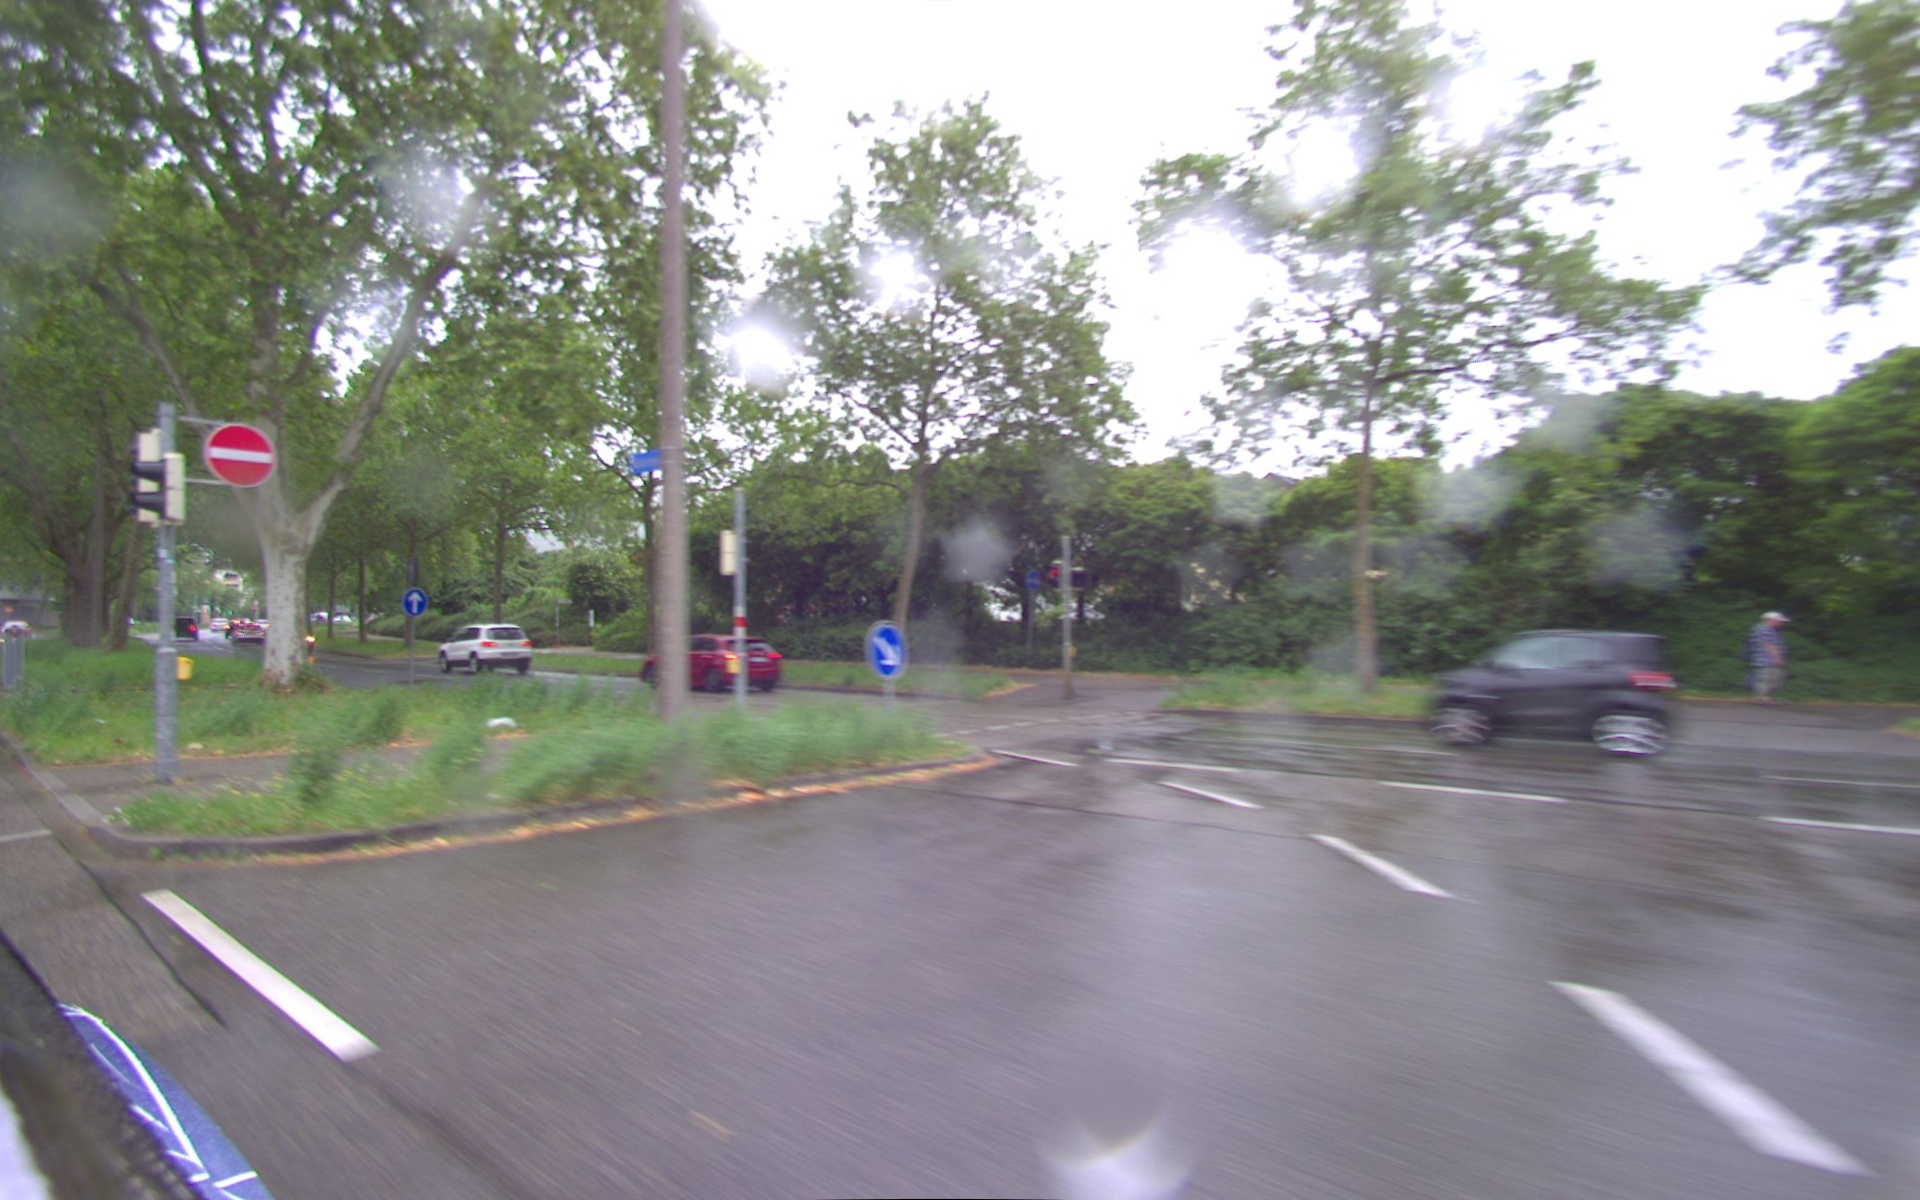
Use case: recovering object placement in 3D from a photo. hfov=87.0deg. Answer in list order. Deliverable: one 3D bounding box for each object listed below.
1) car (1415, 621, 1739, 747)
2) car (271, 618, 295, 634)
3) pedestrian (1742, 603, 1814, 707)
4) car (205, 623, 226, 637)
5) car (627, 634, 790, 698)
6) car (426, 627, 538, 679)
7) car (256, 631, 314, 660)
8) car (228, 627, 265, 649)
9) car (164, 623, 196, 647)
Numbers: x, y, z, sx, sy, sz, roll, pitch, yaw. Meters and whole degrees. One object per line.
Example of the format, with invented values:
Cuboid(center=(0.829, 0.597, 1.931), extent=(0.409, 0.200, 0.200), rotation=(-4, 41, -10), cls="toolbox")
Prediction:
Cuboid(center=(7.777, 0.961, 12.871), extent=(3.331, 1.383, 1.571), rotation=(-1, -1, 40), cls="car")
Cuboid(center=(-97.496, 3.693, 145.710), extent=(2.001, 2.243, 5.452), rotation=(1, -1, -25), cls="car")
Cuboid(center=(13.812, 0.913, 17.086), extent=(0.899, 1.686, 0.822), rotation=(-1, -2, 41), cls="pedestrian")
Cuboid(center=(-88.091, 3.490, 119.743), extent=(1.721, 1.603, 4.338), rotation=(1, -1, -39), cls="car")
Cuboid(center=(-6.415, 1.606, 25.541), extent=(4.440, 1.418, 1.726), rotation=(-1, -1, 40), cls="car")
Cuboid(center=(-16.287, 1.754, 34.406), extent=(4.440, 1.644, 1.726), rotation=(-1, -2, 40), cls="car")
Cuboid(center=(-36.223, 2.456, 54.265), extent=(4.446, 1.450, 1.723), rotation=(-3, -3, 45), cls="car")
Cuboid(center=(-50.423, 2.662, 71.488), extent=(1.721, 1.487, 4.242), rotation=(1, -1, -40), cls="car")
Cuboid(center=(-63.530, 2.847, 82.446), extent=(1.720, 1.856, 5.134), rotation=(1, -1, -34), cls="car")
